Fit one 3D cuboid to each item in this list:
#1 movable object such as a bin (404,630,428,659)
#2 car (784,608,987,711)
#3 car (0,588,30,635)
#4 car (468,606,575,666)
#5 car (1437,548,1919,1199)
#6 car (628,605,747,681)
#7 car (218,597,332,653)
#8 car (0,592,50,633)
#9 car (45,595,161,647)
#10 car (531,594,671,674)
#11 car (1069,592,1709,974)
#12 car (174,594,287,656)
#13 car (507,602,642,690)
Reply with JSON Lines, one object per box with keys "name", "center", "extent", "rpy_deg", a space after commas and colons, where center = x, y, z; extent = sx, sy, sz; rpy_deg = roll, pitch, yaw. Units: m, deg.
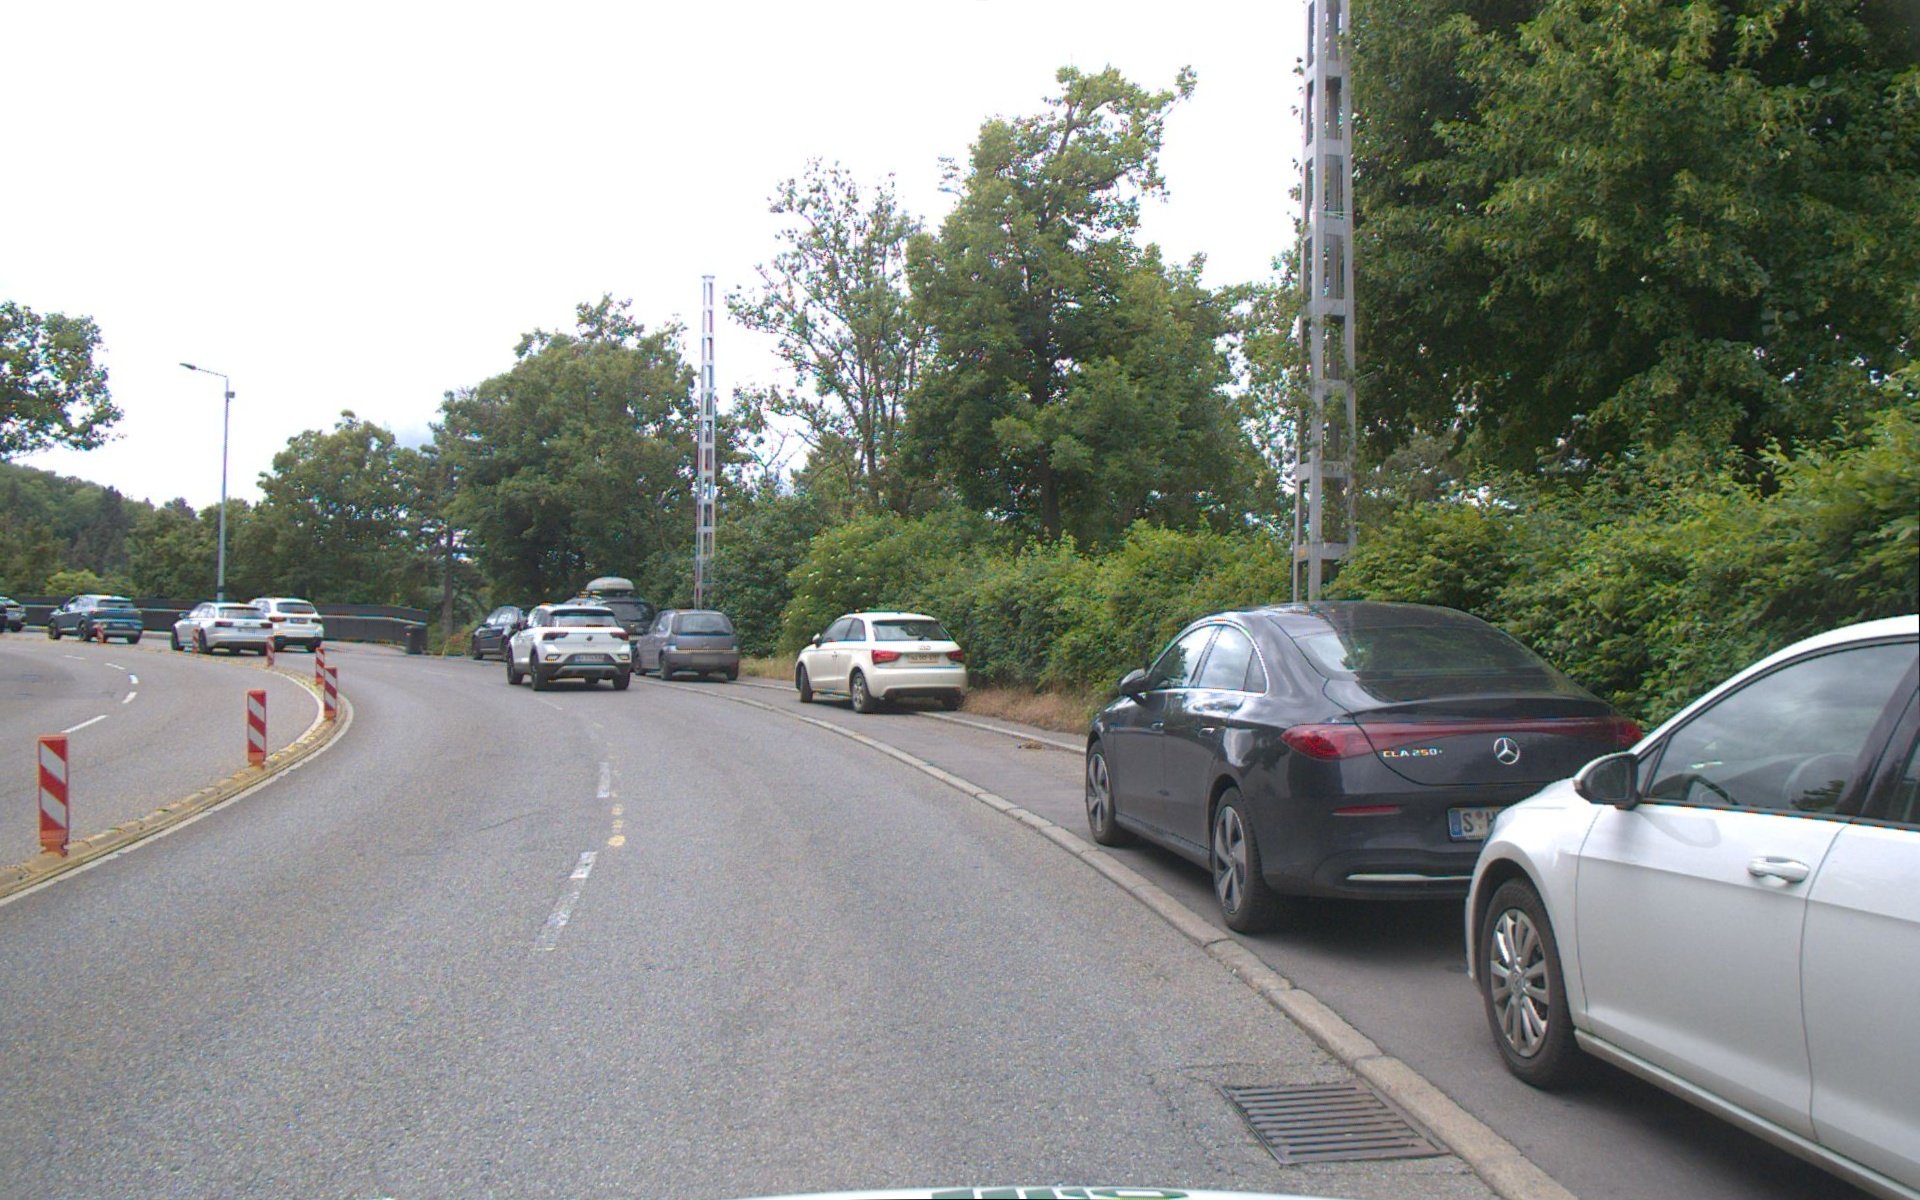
{"name": "movable object such as a bin", "center": [-18.101, 1.481, 55.028], "extent": [0.518, 0.896, 0.524], "rpy_deg": [5, -3, -44]}
{"name": "car", "center": [-1.231, 0.855, 25.476], "extent": [1.755, 1.443, 3.968], "rpy_deg": [0, 0, -25]}
{"name": "car", "center": [-37.247, 0.375, 62.987], "extent": [3.924, 1.719, 1.812], "rpy_deg": [1, -3, 39]}
{"name": "car", "center": [-12.025, 0.966, 45.204], "extent": [1.644, 1.513, 3.989], "rpy_deg": [3, -2, -32]}
{"name": "car", "center": [2.656, 0.647, 3.904], "extent": [1.667, 1.490, 3.830], "rpy_deg": [0, -1, -5]}
{"name": "car", "center": [-5.863, 0.904, 35.278], "extent": [1.618, 1.490, 3.972], "rpy_deg": [2, -2, -22]}
{"name": "car", "center": [-21.685, 0.775, 52.288], "extent": [1.984, 1.614, 3.936], "rpy_deg": [5, -3, -43]}
{"name": "car", "center": [-39.163, 0.465, 67.362], "extent": [3.450, 1.552, 1.700], "rpy_deg": [2, -2, 18]}
{"name": "car", "center": [-29.120, 0.717, 56.164], "extent": [3.933, 1.568, 1.990], "rpy_deg": [1, -3, 39]}
{"name": "car", "center": [-8.763, 0.802, 40.094], "extent": [1.782, 1.803, 4.554], "rpy_deg": [3, -2, -33]}
{"name": "car", "center": [1.885, 0.731, 8.895], "extent": [1.669, 1.490, 4.654], "rpy_deg": [0, 0, -8]}
{"name": "car", "center": [-21.076, 0.706, 47.712], "extent": [1.894, 1.601, 3.943], "rpy_deg": [5, -3, -40]}
{"name": "car", "center": [-7.431, 0.839, 31.646], "extent": [1.842, 1.563, 3.775], "rpy_deg": [1, -1, -24]}
